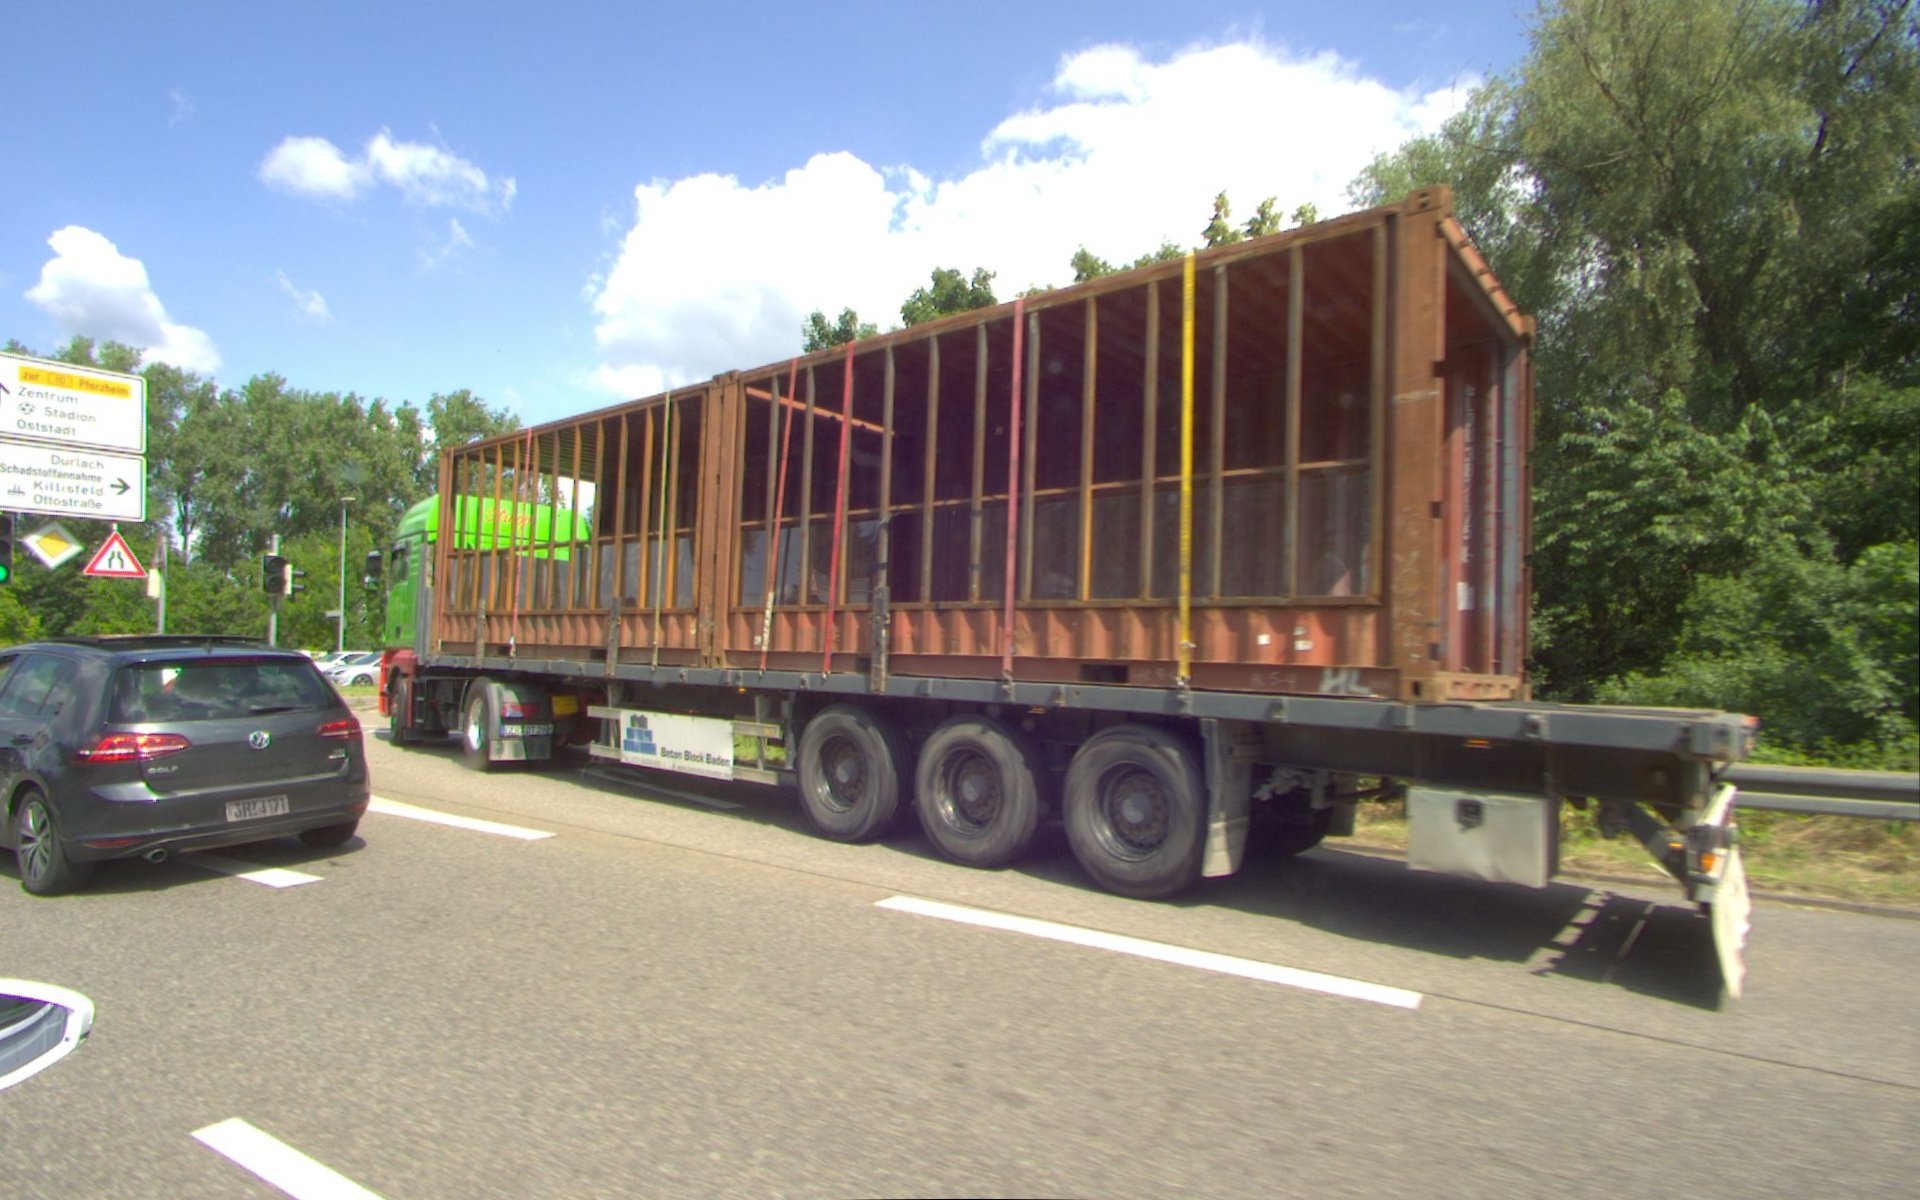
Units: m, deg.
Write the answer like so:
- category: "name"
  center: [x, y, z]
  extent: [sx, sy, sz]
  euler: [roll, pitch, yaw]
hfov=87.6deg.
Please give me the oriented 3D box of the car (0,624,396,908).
- category: "car"
  center: [-5.866, 0.935, 6.962]
  extent: [3.813, 1.497, 1.641]
  euler: [-1, -2, 29]

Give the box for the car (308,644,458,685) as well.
- category: "car"
  center: [-21.073, 2.399, 36.769]
  extent: [1.622, 1.392, 4.526]
  euler: [0, -4, 30]

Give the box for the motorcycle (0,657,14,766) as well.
- category: "motorcycle"
  center: [-11.347, 1.183, 11.028]
  extent: [2.365, 1.146, 0.788]
  euler: [-1, -2, 33]

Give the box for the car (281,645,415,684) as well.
- category: "car"
  center: [-23.923, 2.548, 39.310]
  extent: [1.622, 1.392, 4.200]
  euler: [0, -4, 30]

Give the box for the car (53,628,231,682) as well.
- category: "car"
  center: [-27.331, 1.873, 33.609]
  extent: [1.810, 1.665, 4.200]
  euler: [0, -4, 30]

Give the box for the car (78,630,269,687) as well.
- category: "car"
  center: [-24.386, 1.859, 31.208]
  extent: [1.818, 1.636, 4.279]
  euler: [-1, -5, 30]

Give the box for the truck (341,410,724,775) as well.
- category: "truck"
  center: [-6.127, 0.121, 13.916]
  extent: [2.853, 3.950, 5.822]
  euler: [6, -6, -44]

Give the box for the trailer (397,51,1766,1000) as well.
- category: "trailer"
  center: [-1.124, -0.075, 9.565]
  extent: [13.686, 3.937, 2.630]
  euler: [-2, -5, 40]
